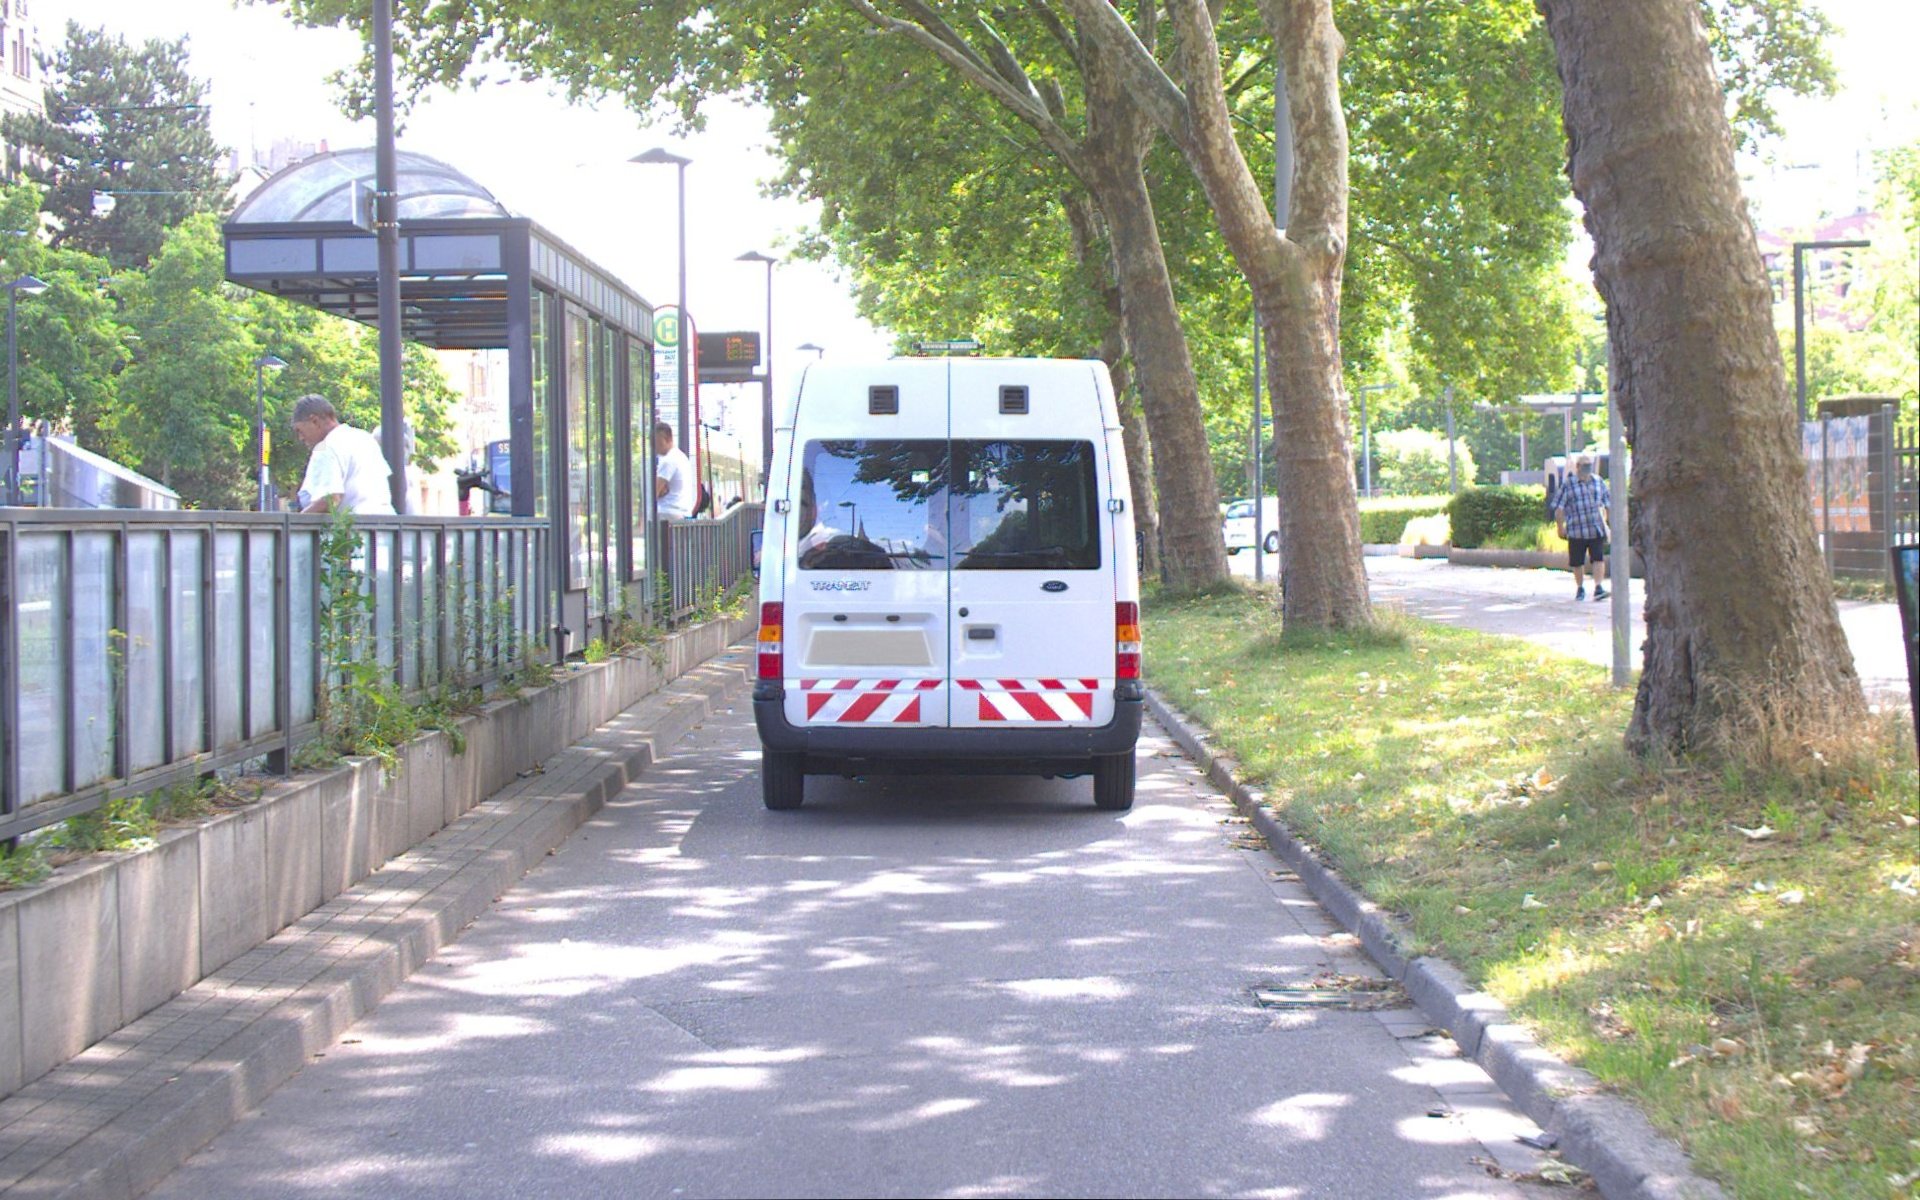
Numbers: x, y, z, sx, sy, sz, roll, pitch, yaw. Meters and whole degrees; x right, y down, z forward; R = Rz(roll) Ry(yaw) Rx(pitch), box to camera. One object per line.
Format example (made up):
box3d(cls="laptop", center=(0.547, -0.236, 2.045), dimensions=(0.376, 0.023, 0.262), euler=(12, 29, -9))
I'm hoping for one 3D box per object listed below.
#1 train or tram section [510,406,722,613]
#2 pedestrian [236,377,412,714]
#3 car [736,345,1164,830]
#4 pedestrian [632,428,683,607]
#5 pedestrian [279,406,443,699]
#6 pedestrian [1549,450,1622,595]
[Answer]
box3d(cls="train or tram section", center=(-6.418, -1.734, 66.107), dimensions=(2.723, 3.572, 13.017), euler=(0, 1, 0))
box3d(cls="pedestrian", center=(-2.920, -0.252, 15.829), dimensions=(0.676, 1.510, 0.596), euler=(-1, 1, -1))
box3d(cls="car", center=(-0.101, -0.146, 19.063), dimensions=(2.047, 2.325, 4.715), euler=(-1, 2, -1))
box3d(cls="pedestrian", center=(-2.714, -0.740, 30.865), dimensions=(0.385, 1.586, 0.439), euler=(-1, 1, -1))
box3d(cls="pedestrian", center=(-2.927, -0.237, 16.852), dimensions=(0.676, 1.398, 0.596), euler=(-1, 1, -1))
box3d(cls="pedestrian", center=(7.112, -0.883, 39.099), dimensions=(0.693, 1.620, 0.637), euler=(-1, 1, 0))
